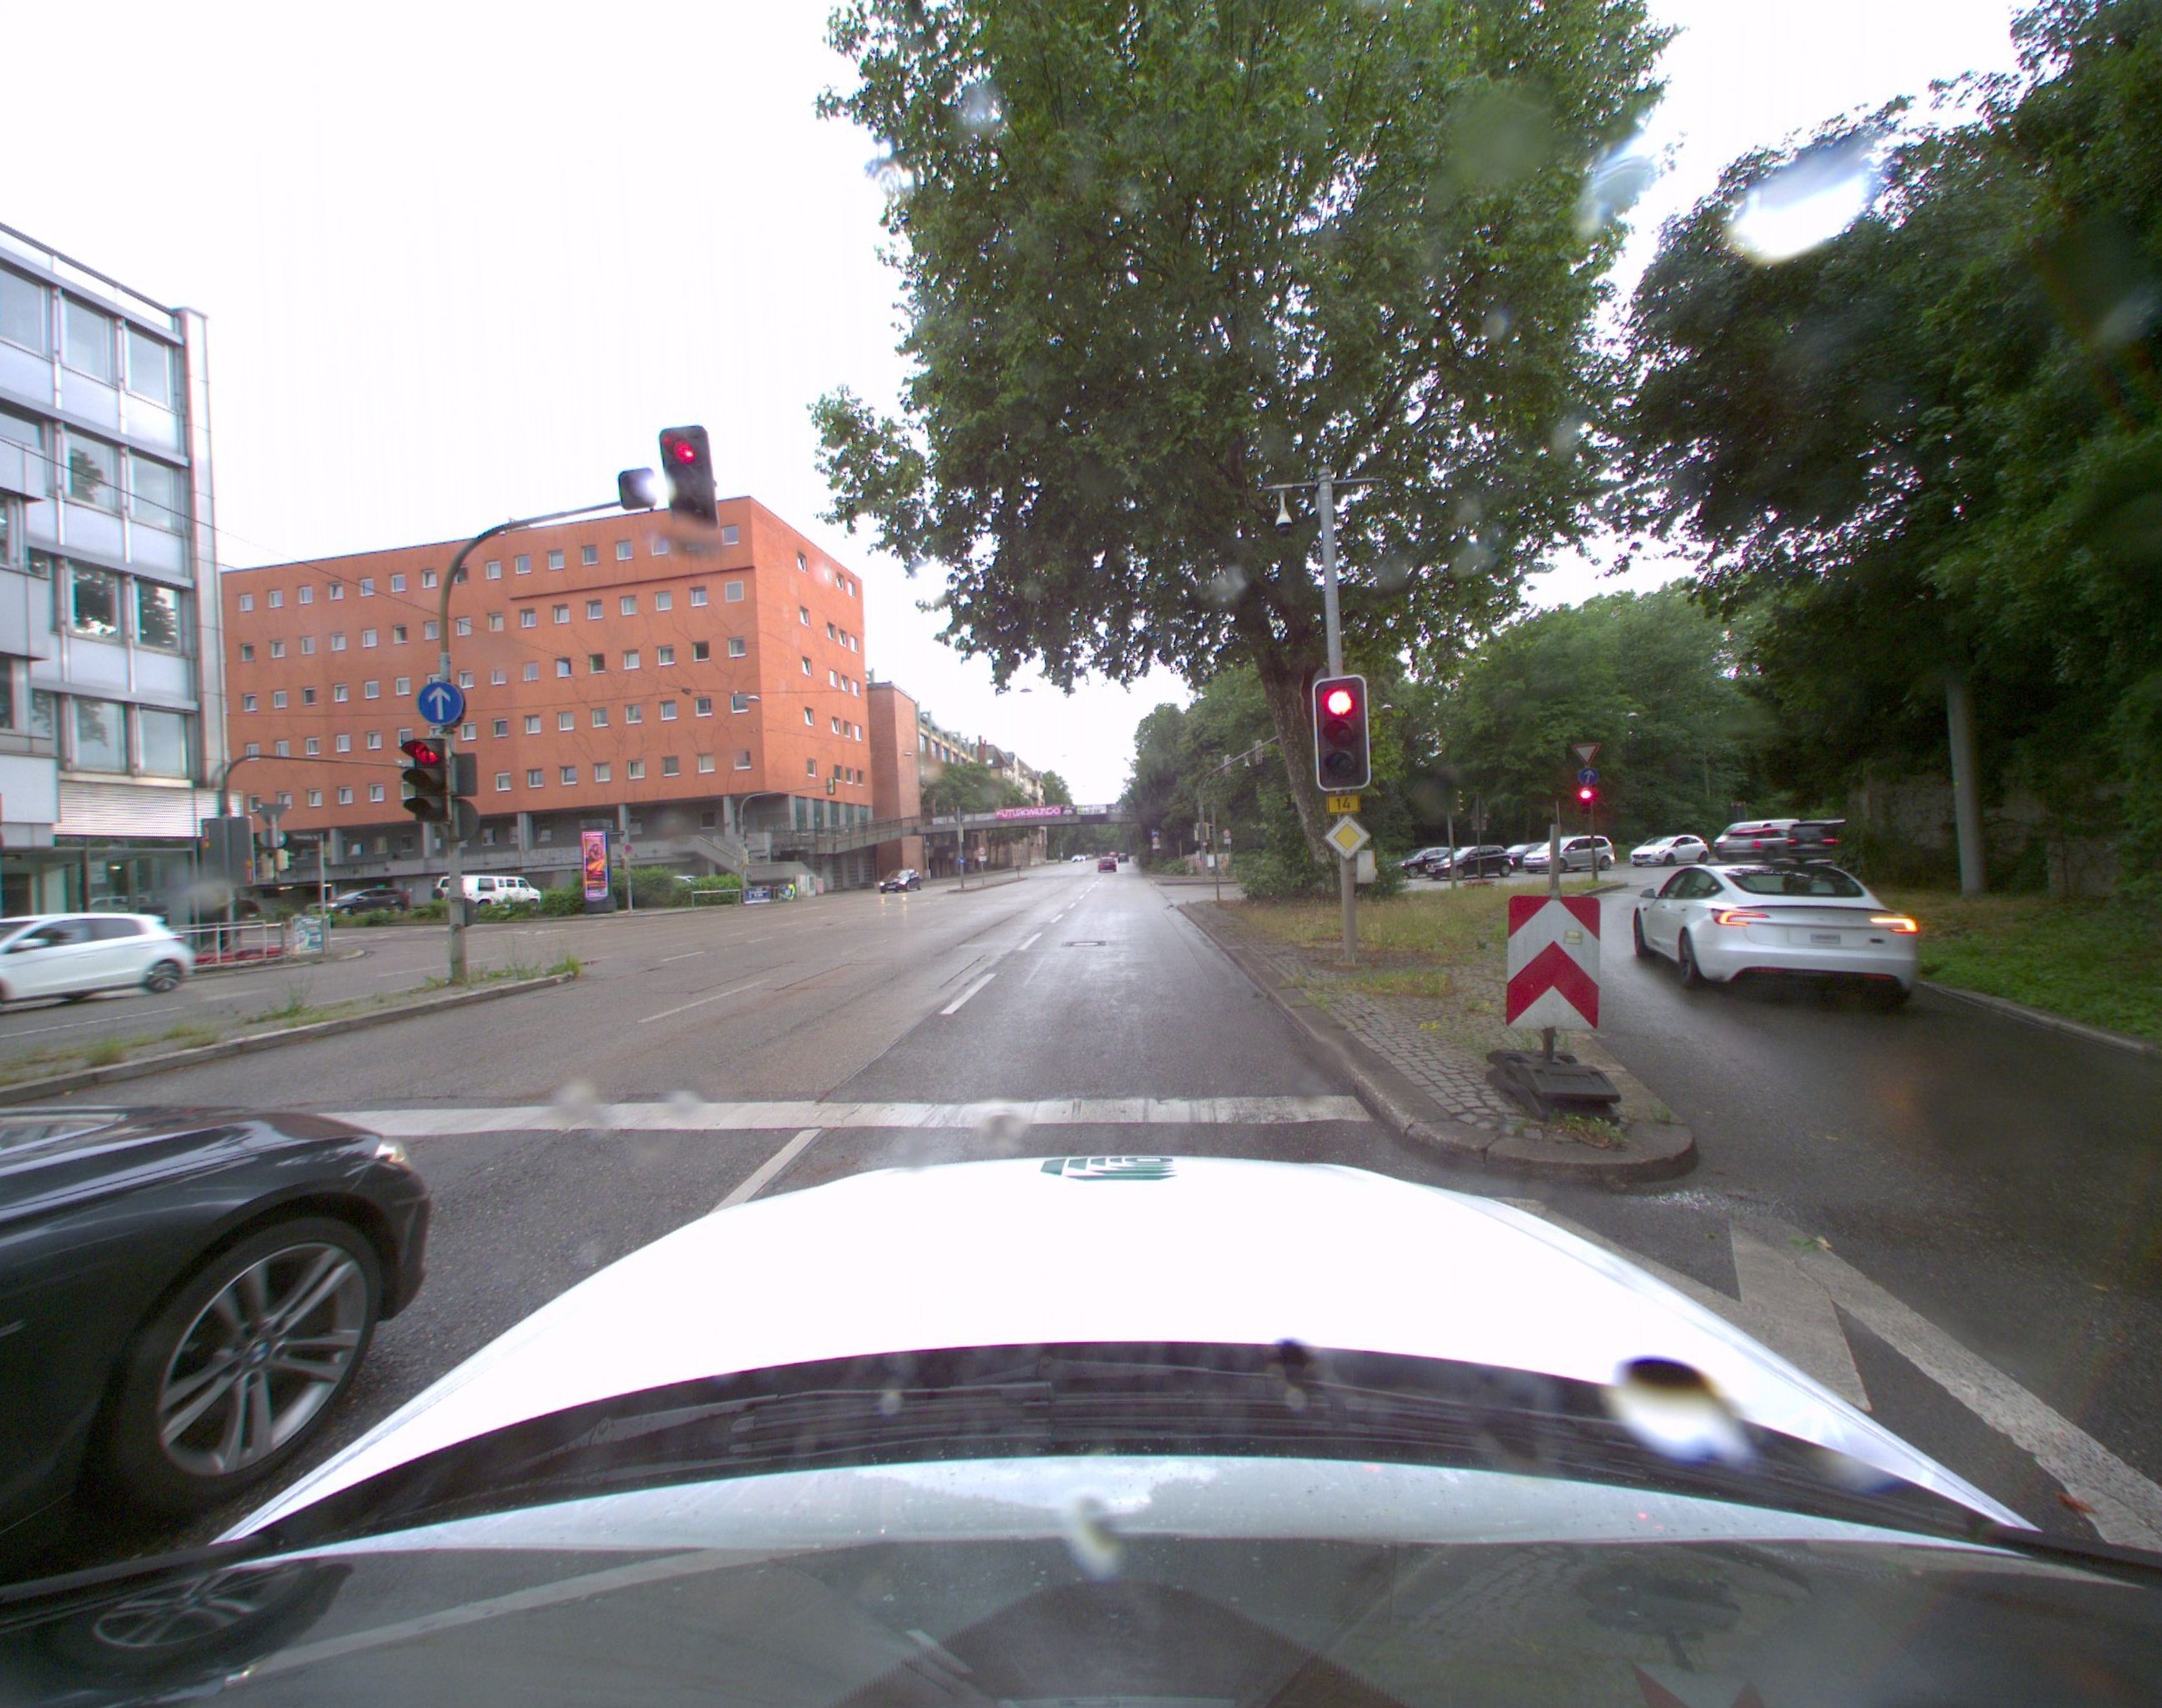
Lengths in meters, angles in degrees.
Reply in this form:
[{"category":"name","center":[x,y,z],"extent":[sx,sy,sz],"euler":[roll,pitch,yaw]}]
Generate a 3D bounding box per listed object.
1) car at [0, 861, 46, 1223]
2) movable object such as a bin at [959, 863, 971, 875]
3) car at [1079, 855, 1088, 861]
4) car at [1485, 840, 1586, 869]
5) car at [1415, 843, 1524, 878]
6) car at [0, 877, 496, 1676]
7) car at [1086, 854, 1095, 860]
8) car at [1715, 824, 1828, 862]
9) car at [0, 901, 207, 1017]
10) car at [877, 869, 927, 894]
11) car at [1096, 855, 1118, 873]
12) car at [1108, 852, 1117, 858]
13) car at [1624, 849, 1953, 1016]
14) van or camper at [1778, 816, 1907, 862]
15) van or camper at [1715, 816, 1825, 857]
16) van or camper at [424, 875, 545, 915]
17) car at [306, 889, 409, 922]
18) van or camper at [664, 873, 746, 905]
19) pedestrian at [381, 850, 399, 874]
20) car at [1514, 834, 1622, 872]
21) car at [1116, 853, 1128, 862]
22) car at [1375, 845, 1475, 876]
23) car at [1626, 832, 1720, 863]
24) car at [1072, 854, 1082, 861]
[{"category":"car","center":[-5.994,0.849,1.706],"extent":[1.801,1.656,4.449],"euler":[0,-1,4]},{"category":"movable object such as a bin","center":[-15.324,1.940,107.519],"extent":[1.277,1.518,1.274],"euler":[-3,0,3]},{"category":"car","center":[0.665,1.022,214.520],"extent":[1.701,1.464,4.047],"euler":[-3,-1,5]},{"category":"car","center":[22.991,0.033,41.233],"extent":[4.438,1.402,1.821],"euler":[0,-1,-14]},{"category":"car","center":[17.165,0.268,36.032],"extent":[4.192,1.460,1.784],"euler":[0,-1,-14]},{"category":"car","center":[-2.976,0.838,0.510],"extent":[1.769,1.458,4.480],"euler":[-3,-1,3]},{"category":"car","center":[2.777,0.819,246.658],"extent":[1.889,1.610,4.443],"euler":[-2,-1,-9]},{"category":"car","center":[31.754,-0.501,37.485],"extent":[4.280,1.680,1.939],"euler":[0,-1,-16]},{"category":"car","center":[-16.793,1.710,12.863],"extent":[1.797,1.532,3.761],"euler":[-6,0,-2]},{"category":"car","center":[-11.207,1.705,51.331],"extent":[1.677,1.419,4.223],"euler":[-4,-2,7]},{"category":"car","center":[2.488,0.950,80.153],"extent":[1.998,1.643,4.376],"euler":[-3,0,0]},{"category":"car","center":[9.019,0.424,232.957],"extent":[1.886,1.610,4.450],"euler":[-2,-1,-4]},{"category":"car","center":[8.205,0.713,10.021],"extent":[1.835,1.448,4.645],"euler":[2,2,25]},{"category":"van or camper","center":[32.598,-0.613,34.874],"extent":[4.713,1.881,1.988],"euler":[0,-1,-18]},{"category":"van or camper","center":[35.446,-0.891,41.928],"extent":[4.859,1.947,1.897],"euler":[-1,-1,-16]},{"category":"van or camper","center":[-32.808,2.226,45.073],"extent":[2.113,1.977,5.466],"euler":[0,-1,9]},{"category":"car","center":[-40.243,2.822,45.408],"extent":[1.699,1.612,4.097],"euler":[-1,-1,9]},{"category":"van or camper","center":[-22.281,2.073,48.323],"extent":[3.965,1.627,1.918],"euler":[-3,0,8]},{"category":"pedestrian","center":[-53.865,0.639,63.495],"extent":[0.757,1.839,0.727],"euler":[-1,-1,11]},{"category":"car","center":[22.578,-0.048,37.819],"extent":[4.203,1.680,1.898],"euler":[0,-1,-14]},{"category":"car","center":[6.559,0.540,130.171],"extent":[1.835,1.453,3.778],"euler":[0,-1,2]},{"category":"car","center":[16.794,0.312,39.792],"extent":[4.205,1.440,1.941],"euler":[0,-1,-14]},{"category":"car","center":[28.848,-0.302,39.720],"extent":[3.857,1.461,1.650],"euler":[0,-1,-14]},{"category":"car","center":[-1.005,0.812,190.042],"extent":[1.881,1.610,4.461],"euler":[-3,-1,4]}]
